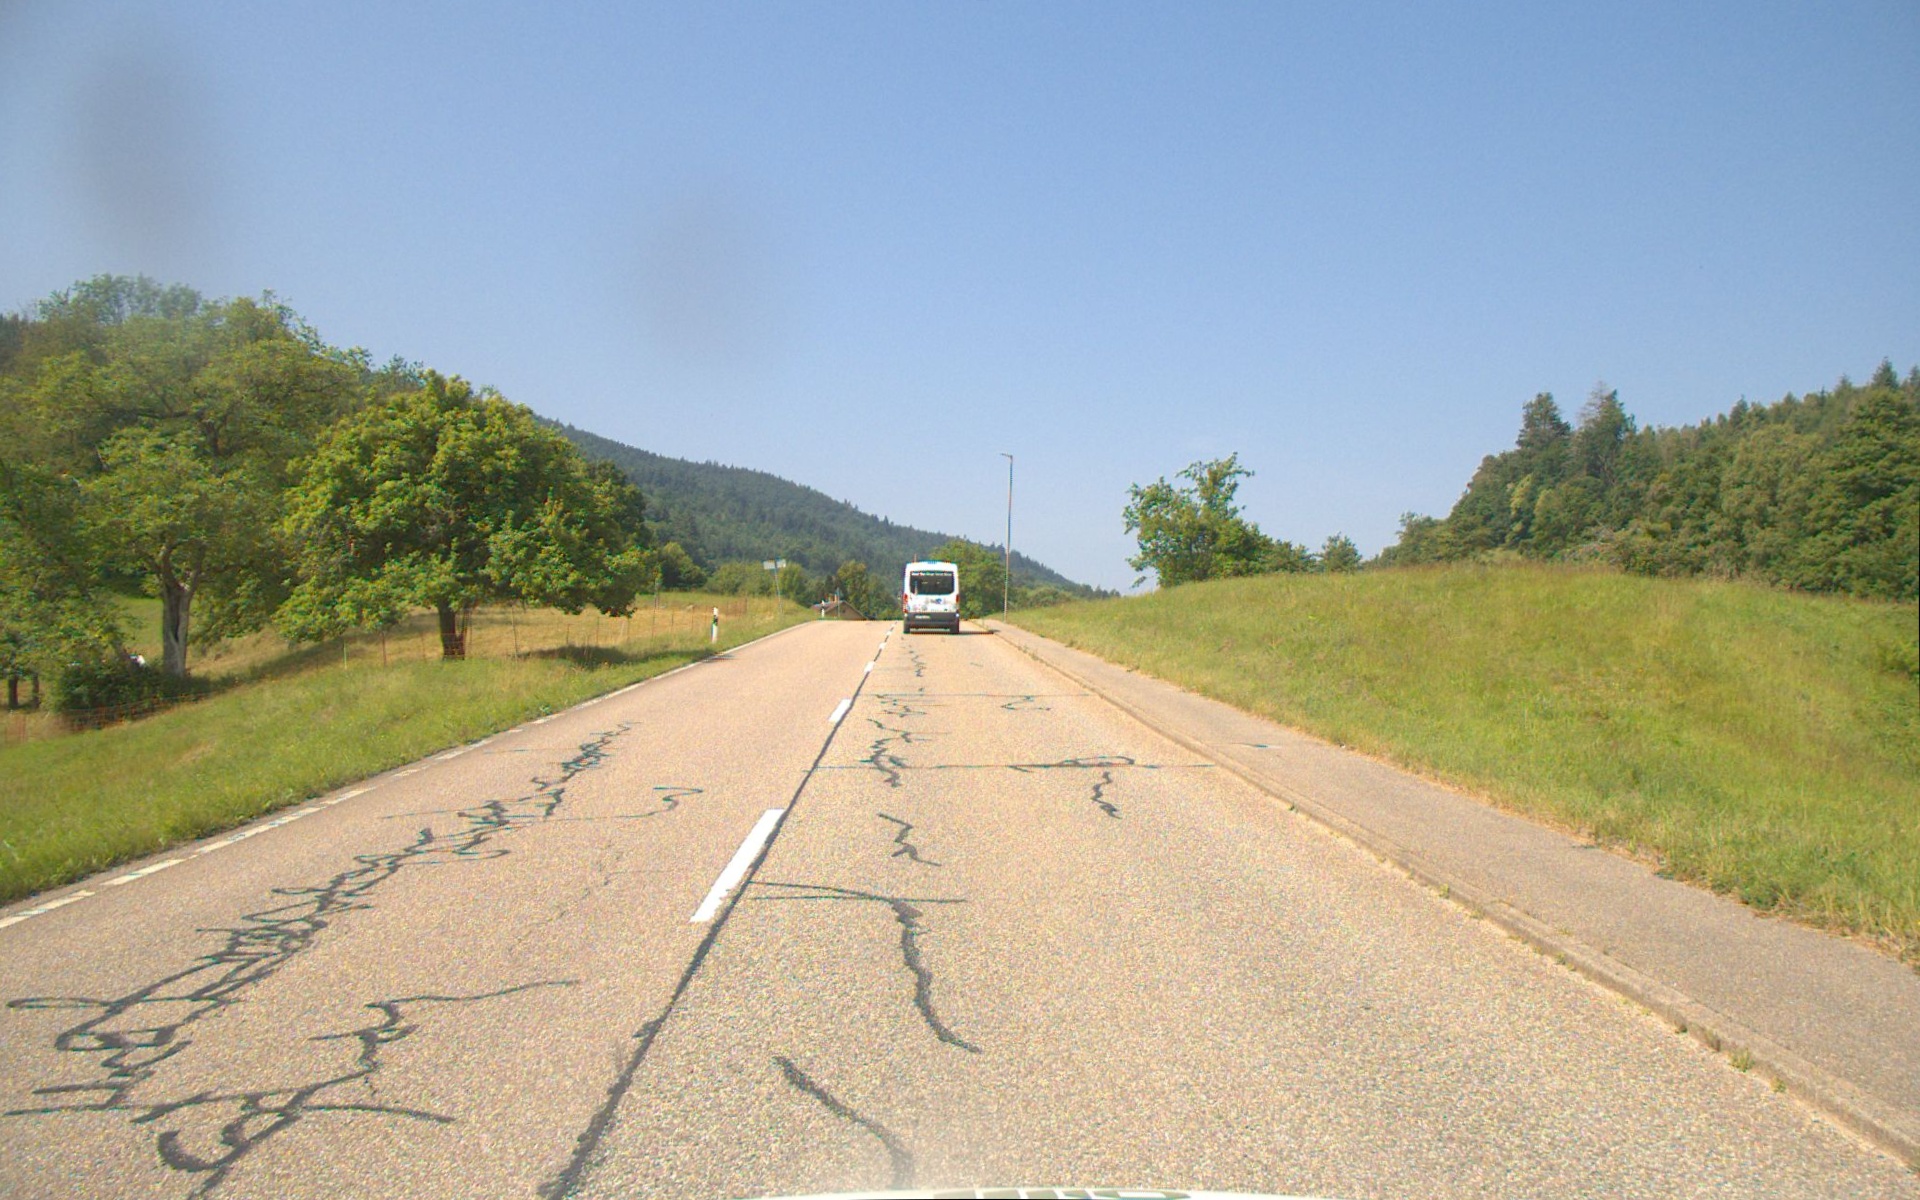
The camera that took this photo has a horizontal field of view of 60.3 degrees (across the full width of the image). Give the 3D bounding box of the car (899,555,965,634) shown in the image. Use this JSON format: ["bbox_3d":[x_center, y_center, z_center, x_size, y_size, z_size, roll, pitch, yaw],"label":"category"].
[{"bbox_3d":[-1.039,-0.133,59.315,2.178,2.570,4.982,-2,-2,-2],"label":"car"}]
